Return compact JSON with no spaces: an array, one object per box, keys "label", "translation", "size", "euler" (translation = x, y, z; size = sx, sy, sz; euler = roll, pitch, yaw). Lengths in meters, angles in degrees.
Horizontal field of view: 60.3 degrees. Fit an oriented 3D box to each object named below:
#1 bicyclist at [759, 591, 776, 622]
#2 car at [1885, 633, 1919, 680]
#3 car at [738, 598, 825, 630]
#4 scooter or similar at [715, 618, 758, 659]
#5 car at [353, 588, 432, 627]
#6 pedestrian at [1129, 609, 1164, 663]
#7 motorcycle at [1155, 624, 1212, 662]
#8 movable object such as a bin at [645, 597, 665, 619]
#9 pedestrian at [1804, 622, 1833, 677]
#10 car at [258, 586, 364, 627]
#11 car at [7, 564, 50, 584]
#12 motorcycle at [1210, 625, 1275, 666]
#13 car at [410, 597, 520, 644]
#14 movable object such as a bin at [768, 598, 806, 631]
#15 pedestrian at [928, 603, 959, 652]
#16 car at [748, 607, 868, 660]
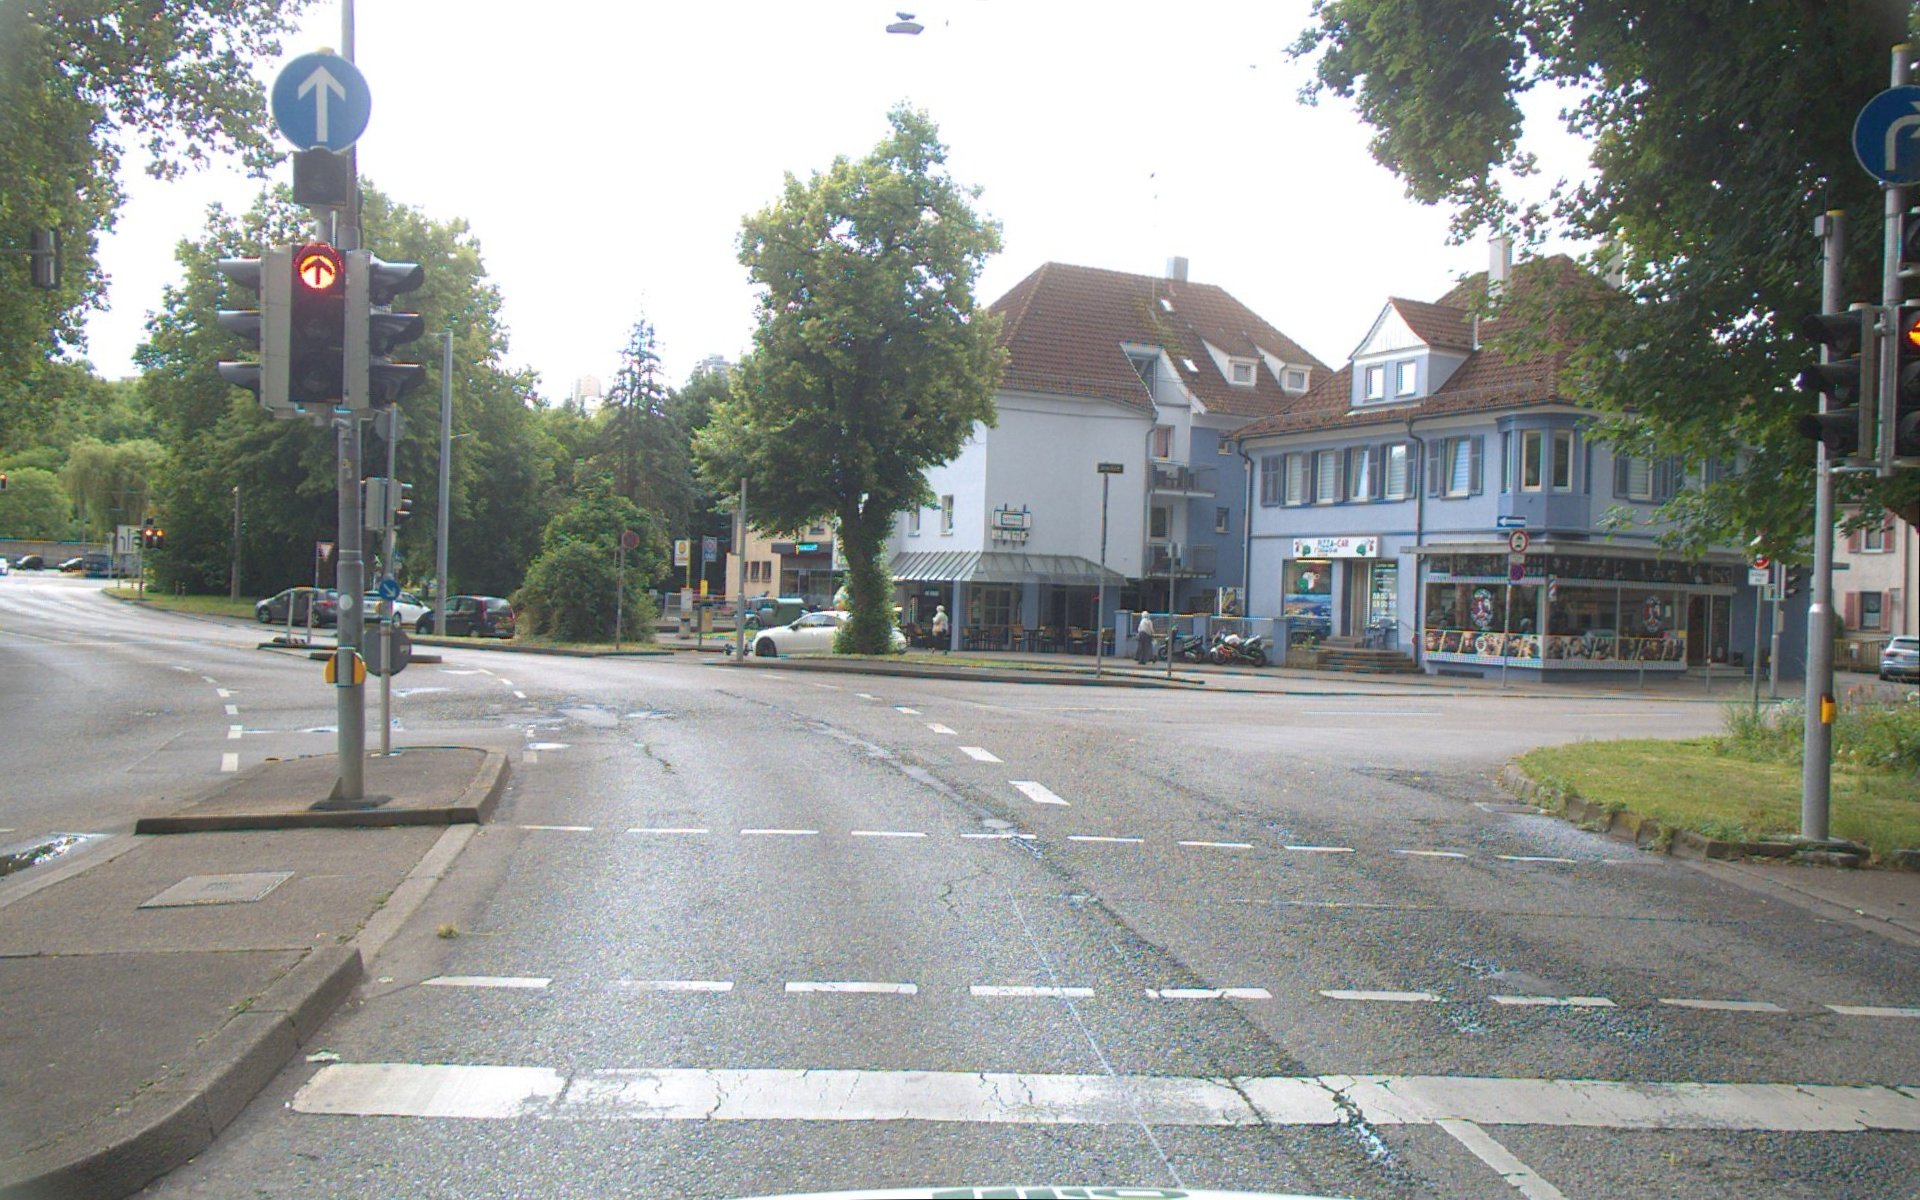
[{"label":"bicyclist","translation":[-9.864,0.335,84.582],"size":[0.726,1.568,0.597],"euler":[1,0,-19]},{"label":"car","translation":[29.851,1.740,51.413],"size":[1.471,1.393,3.164],"euler":[1,0,38]},{"label":"car","translation":[-8.158,0.644,75.731],"size":[3.690,1.368,1.421],"euler":[1,0,-27]},{"label":"scooter or similar","translation":[-5.731,0.984,42.541],"size":[0.408,1.029,1.567],"euler":[1,0,20]},{"label":"car","translation":[-22.669,0.309,66.183],"size":[1.512,1.490,3.398],"euler":[1,0,10]},{"label":"pedestrian","translation":[5.531,1.060,49.045],"size":[0.754,1.572,0.675],"euler":[1,-1,38]},{"label":"motorcycle","translation":[6.792,1.296,50.236],"size":[1.609,1.082,0.690],"euler":[1,0,44]},{"label":"movable object such as a bin","translation":[-15.853,0.398,85.914],"size":[0.937,1.135,0.381],"euler":[1,0,-22]},{"label":"pedestrian","translation":[24.691,1.421,47.591],"size":[0.451,1.544,0.584],"euler":[1,-1,-20]},{"label":"car","translation":[-24.860,0.247,63.393],"size":[3.469,1.490,1.586],"euler":[1,0,12]},{"label":"car","translation":[-102.216,-2.824,181.490],"size":[3.948,2.049,1.978],"euler":[1,0,-32]},{"label":"motorcycle","translation":[8.272,1.313,48.480],"size":[1.765,1.141,0.692],"euler":[1,0,38]},{"label":"car","translation":[-16.007,0.662,53.461],"size":[3.519,1.418,1.468],"euler":[1,0,32]},{"label":"movable object such as a bin","translation":[-7.719,0.660,73.841],"size":[1.424,1.433,0.959],"euler":[1,0,-27]},{"label":"pedestrian","translation":[-0.528,0.882,53.233],"size":[0.694,1.572,0.675],"euler":[1,0,39]},{"label":"car","translation":[-4.245,0.920,45.957],"size":[3.110,1.378,1.435],"euler":[1,0,34]}]
